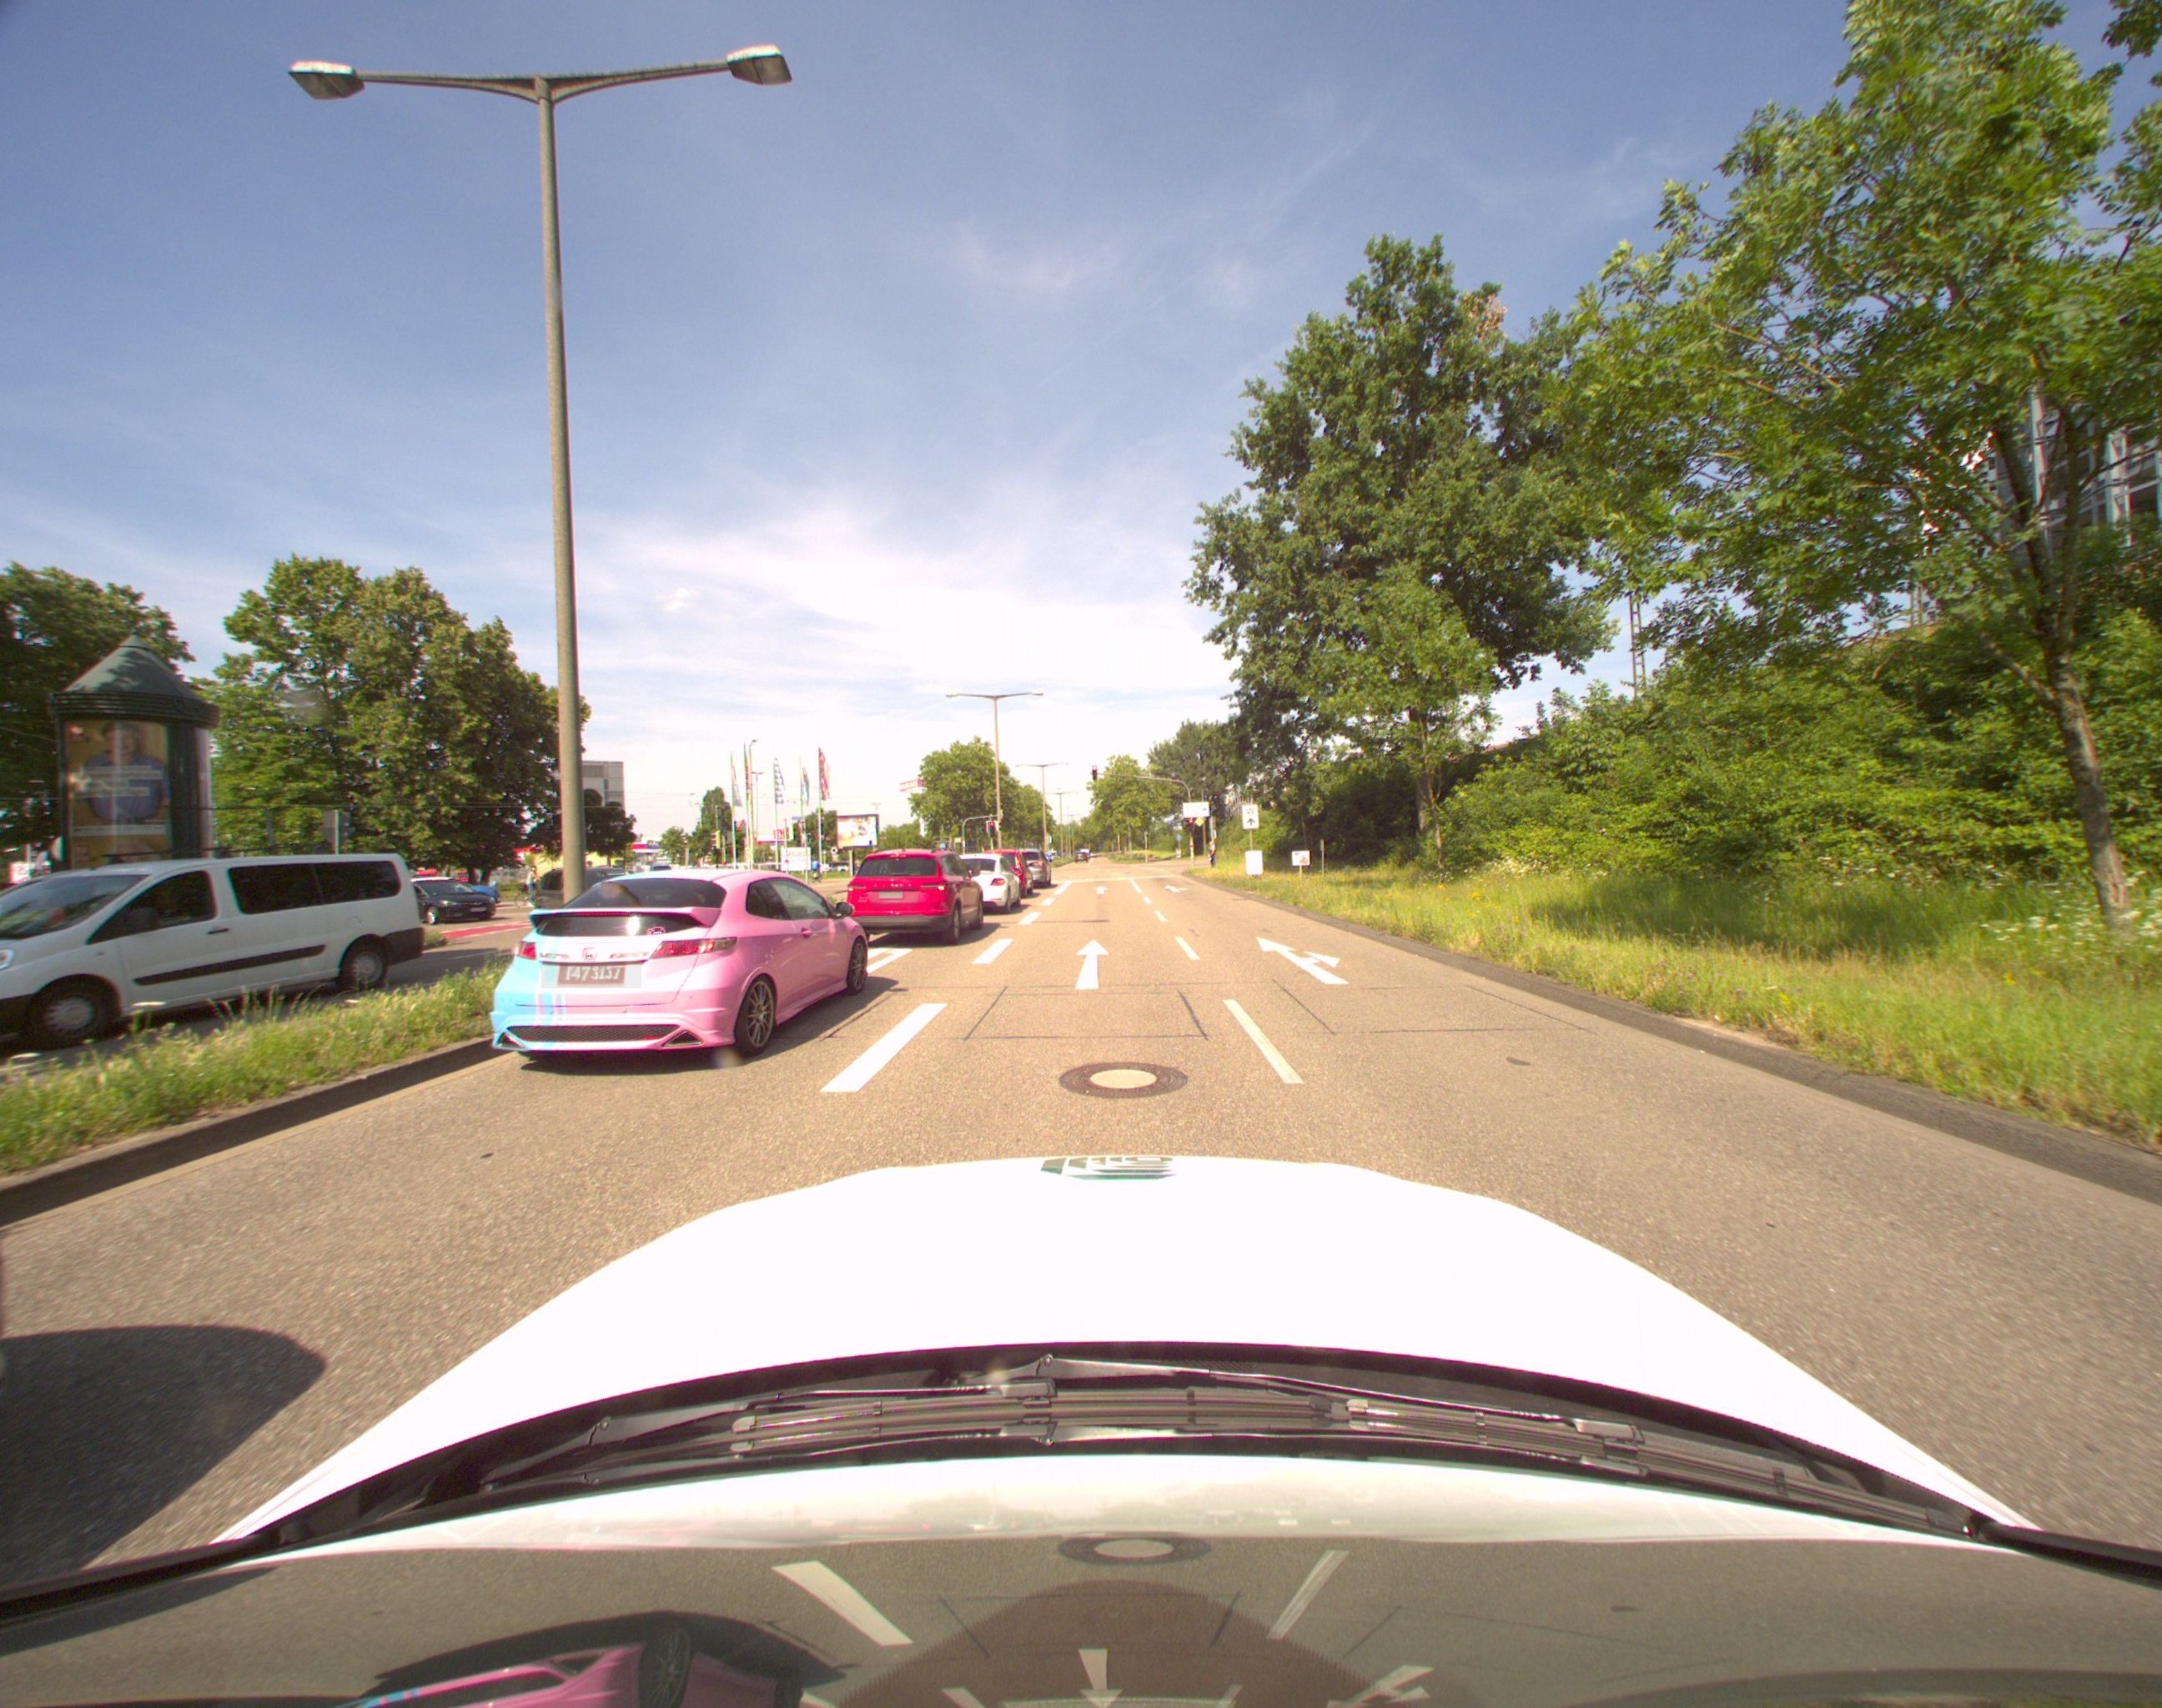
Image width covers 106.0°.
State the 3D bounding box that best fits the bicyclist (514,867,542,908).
[{"bbox_3d":[-24.064,1.444,35.453,0.904,1.646,0.780,-3,3,-35],"label":"bicyclist"}]

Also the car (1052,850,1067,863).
[{"bbox_3d":[-3.283,0.318,125.210,1.987,1.895,4.376,-2,0,1],"label":"car"}]

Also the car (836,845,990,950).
[{"bbox_3d":[-2.879,0.663,15.012,1.776,1.593,4.594,-1,0,1],"label":"car"}]

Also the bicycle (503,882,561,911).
[{"bbox_3d":[-23.931,1.850,35.538,2.019,1.039,0.736,-3,3,-35],"label":"bicycle"}]

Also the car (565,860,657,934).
[{"bbox_3d":[-13.037,1.132,22.483,1.876,1.750,4.353,-3,0,-34],"label":"car"}]

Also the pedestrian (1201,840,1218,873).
[{"bbox_3d":[7.587,0.143,48.074,0.835,1.932,0.771,-2,2,-2],"label":"pedestrian"}]

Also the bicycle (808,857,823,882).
[{"bbox_3d":[-18.298,1.056,56.129,0.671,1.615,0.991,-3,0,-4],"label":"bicycle"}]

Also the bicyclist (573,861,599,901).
[{"bbox_3d":[-22.616,1.228,37.220,0.904,1.715,0.774,-3,3,-35],"label":"bicyclist"}]

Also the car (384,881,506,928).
[{"bbox_3d":[-21.843,1.734,27.950,3.949,1.388,1.776,-2,1,28],"label":"car"}]

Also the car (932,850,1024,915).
[{"bbox_3d":[-2.568,0.665,21.262,1.760,1.479,4.136,-1,0,1],"label":"car"}]

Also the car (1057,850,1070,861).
[{"bbox_3d":[-2.955,0.230,140.512,1.986,1.895,4.377,-2,0,1],"label":"car"}]

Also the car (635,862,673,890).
[{"bbox_3d":[-41.095,2.161,78.316,2.011,2.532,4.583,-3,0,-42],"label":"car"}]

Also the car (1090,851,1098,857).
[{"bbox_3d":[3.186,0.003,204.621,1.861,1.574,4.002,-3,0,2],"label":"car"}]

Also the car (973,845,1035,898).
[{"bbox_3d":[-2.551,0.575,27.762,1.623,1.595,3.918,-2,-1,1],"label":"car"}]

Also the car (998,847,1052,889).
[{"bbox_3d":[-2.292,0.549,34.421,1.875,1.618,4.213,-2,0,1],"label":"car"}]

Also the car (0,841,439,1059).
[{"bbox_3d":[-10.929,0.913,9.851,1.986,2.013,5.215,-3,0,1],"label":"car"}]

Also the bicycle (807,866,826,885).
[{"bbox_3d":[-18.259,1.481,56.221,0.671,1.256,2.244,-3,0,-4],"label":"bicycle"}]

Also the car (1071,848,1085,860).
[{"bbox_3d":[-0.432,0.024,117.585,1.730,1.535,4.003,-2,2,2],"label":"car"}]

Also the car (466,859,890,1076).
[{"bbox_3d":[-3.240,0.775,7.720,1.696,1.390,4.473,-1,0,1],"label":"car"}]

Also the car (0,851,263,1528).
[{"bbox_3d":[-3.218,0.753,0.326,1.620,1.483,4.049,-1,0,1],"label":"car"}]
